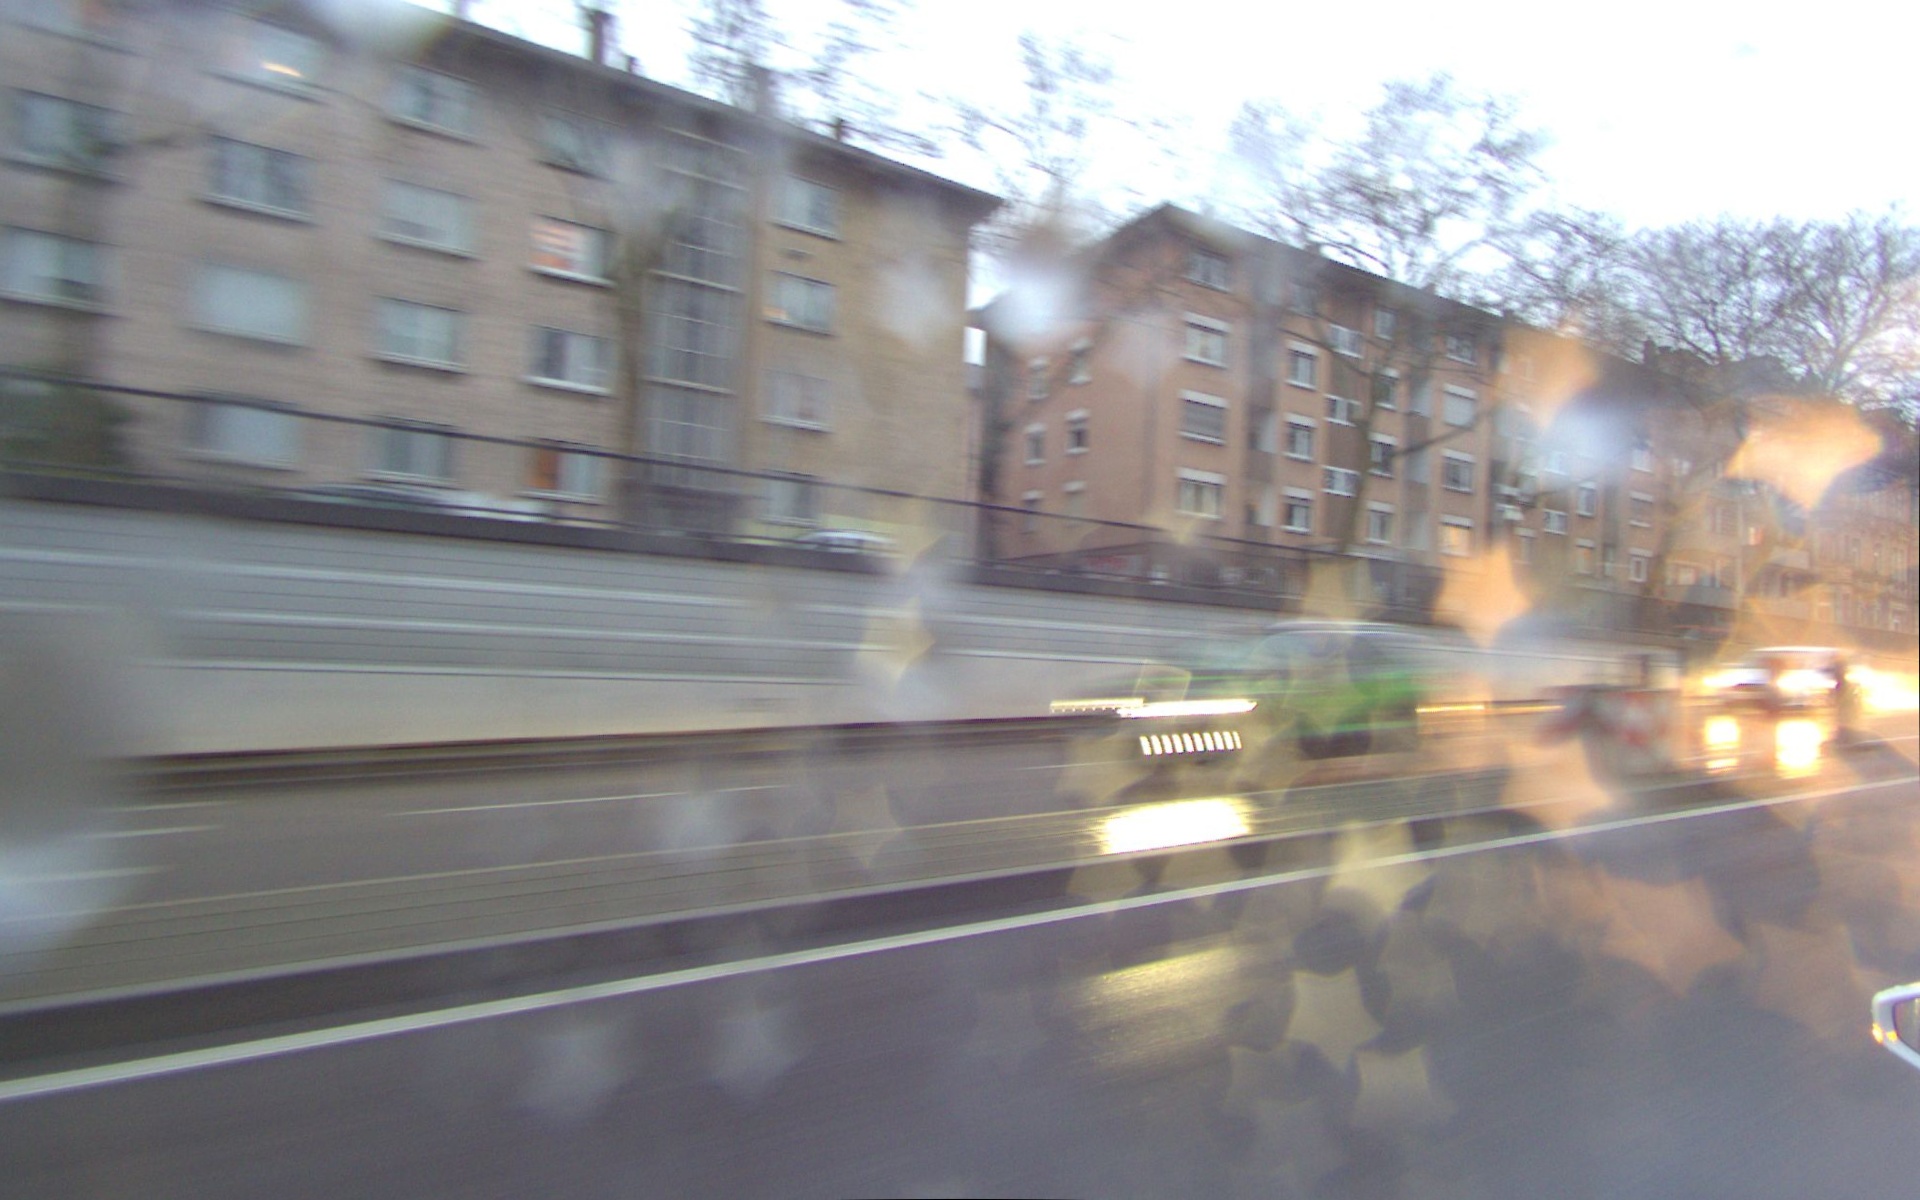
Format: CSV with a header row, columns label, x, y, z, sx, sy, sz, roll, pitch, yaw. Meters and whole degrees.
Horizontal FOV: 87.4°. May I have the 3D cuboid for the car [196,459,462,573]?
label,x,y,z,sx,sy,sz,roll,pitch,yaw
car,-11.189,-1.423,18.090,3.834,1.491,1.558,4,-5,-31

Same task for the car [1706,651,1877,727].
label,x,y,z,sx,sy,sz,roll,pitch,yaw
car,18.526,1.927,22.352,3.828,1.510,1.667,1,-4,-30

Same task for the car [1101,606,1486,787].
label,x,y,z,sx,sy,sz,roll,pitch,yaw
car,3.561,0.935,10.667,3.795,1.613,1.778,1,-3,-29

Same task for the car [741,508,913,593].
label,x,y,z,sx,sy,sz,roll,pitch,yaw
car,-3.030,-1.069,23.028,3.584,1.491,1.558,4,-5,-31
